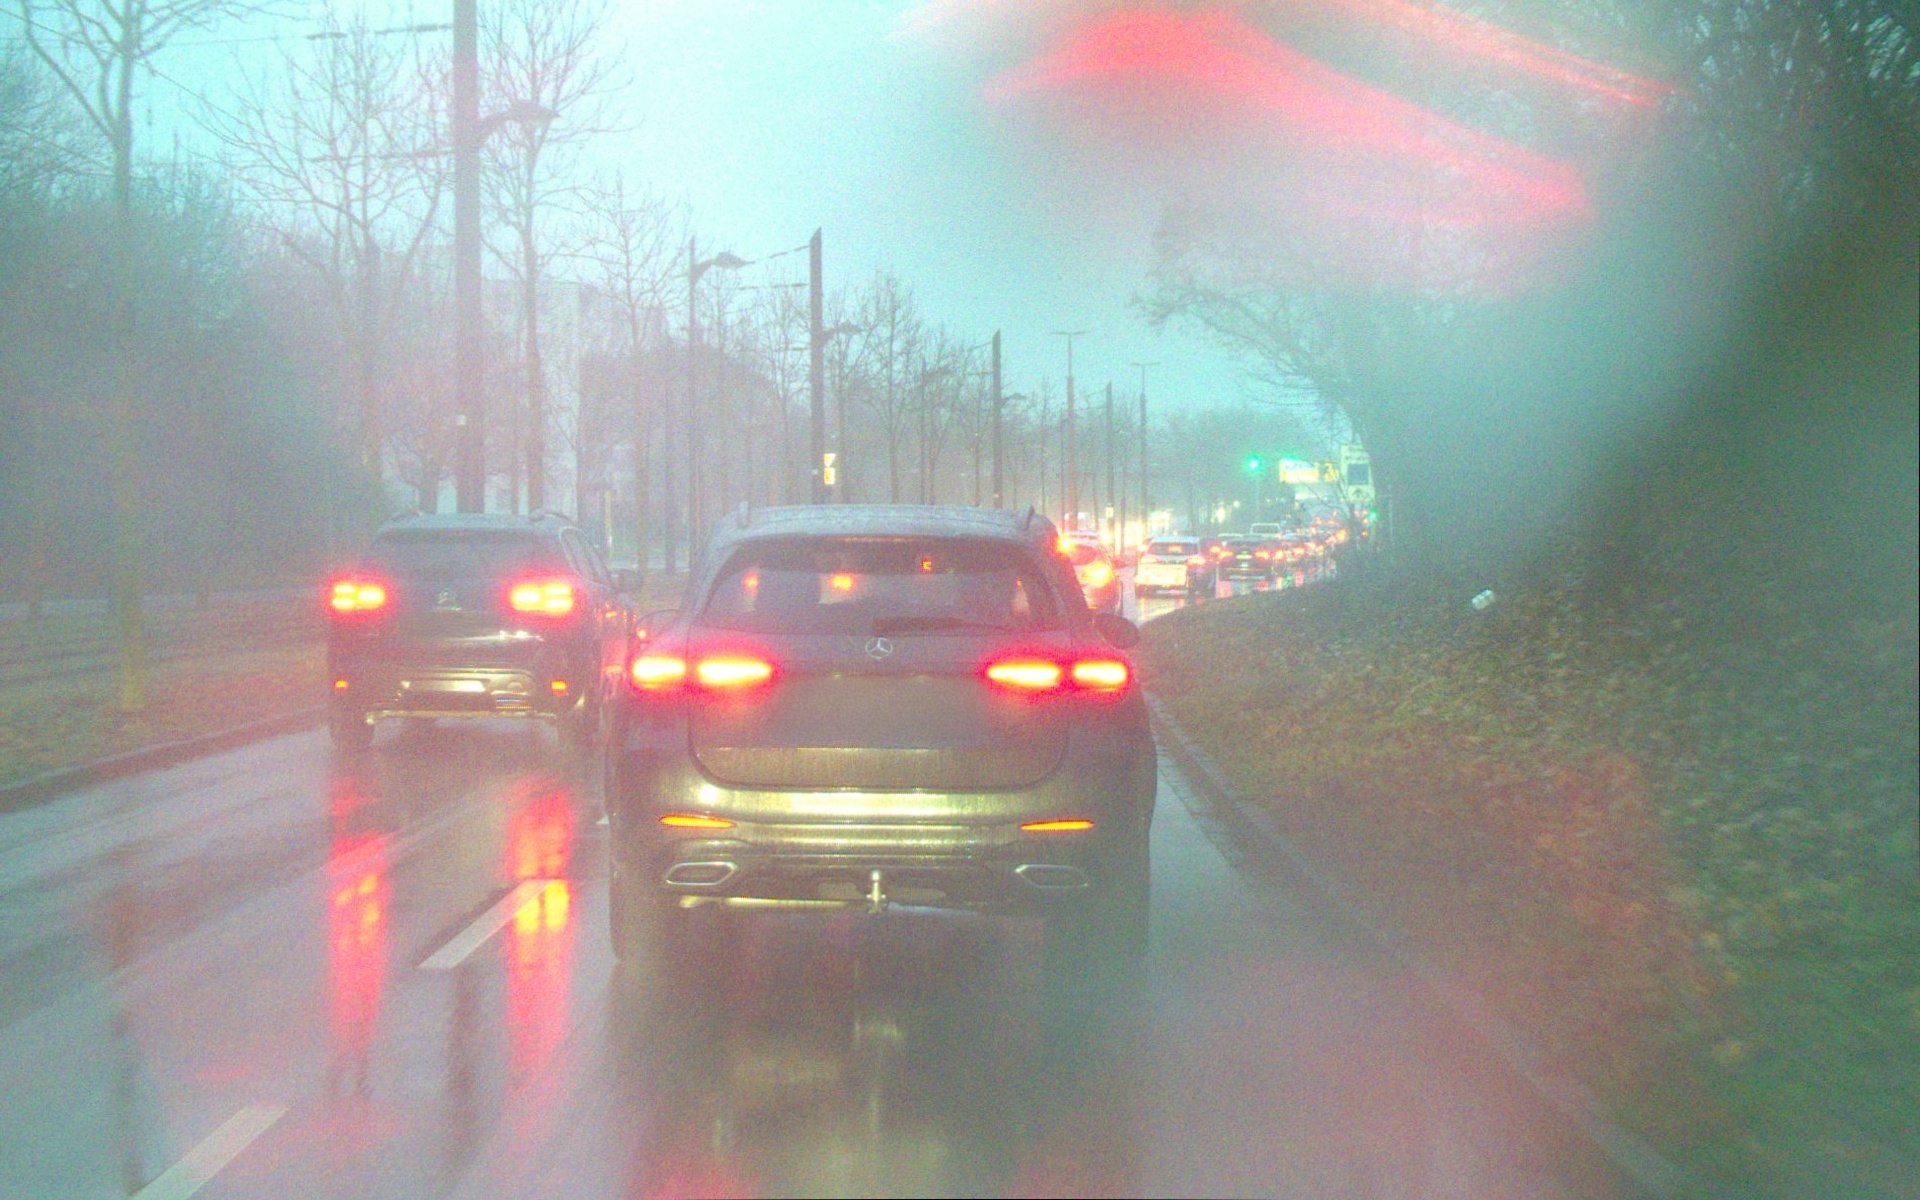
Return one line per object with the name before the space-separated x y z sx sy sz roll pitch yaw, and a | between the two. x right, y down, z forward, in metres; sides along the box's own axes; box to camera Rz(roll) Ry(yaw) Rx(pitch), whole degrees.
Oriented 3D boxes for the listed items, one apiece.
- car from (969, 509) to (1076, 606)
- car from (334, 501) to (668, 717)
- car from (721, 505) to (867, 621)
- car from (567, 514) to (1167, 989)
car | 1.010 -0.724 57.080 1.708 1.552 3.996 0 1 0
car | -3.293 0.004 25.383 1.880 1.454 4.000 0 2 1
car | -2.353 -0.572 49.707 1.880 1.588 4.000 0 2 0
car | -0.375 0.459 13.507 1.998 1.578 4.001 0 1 -2
